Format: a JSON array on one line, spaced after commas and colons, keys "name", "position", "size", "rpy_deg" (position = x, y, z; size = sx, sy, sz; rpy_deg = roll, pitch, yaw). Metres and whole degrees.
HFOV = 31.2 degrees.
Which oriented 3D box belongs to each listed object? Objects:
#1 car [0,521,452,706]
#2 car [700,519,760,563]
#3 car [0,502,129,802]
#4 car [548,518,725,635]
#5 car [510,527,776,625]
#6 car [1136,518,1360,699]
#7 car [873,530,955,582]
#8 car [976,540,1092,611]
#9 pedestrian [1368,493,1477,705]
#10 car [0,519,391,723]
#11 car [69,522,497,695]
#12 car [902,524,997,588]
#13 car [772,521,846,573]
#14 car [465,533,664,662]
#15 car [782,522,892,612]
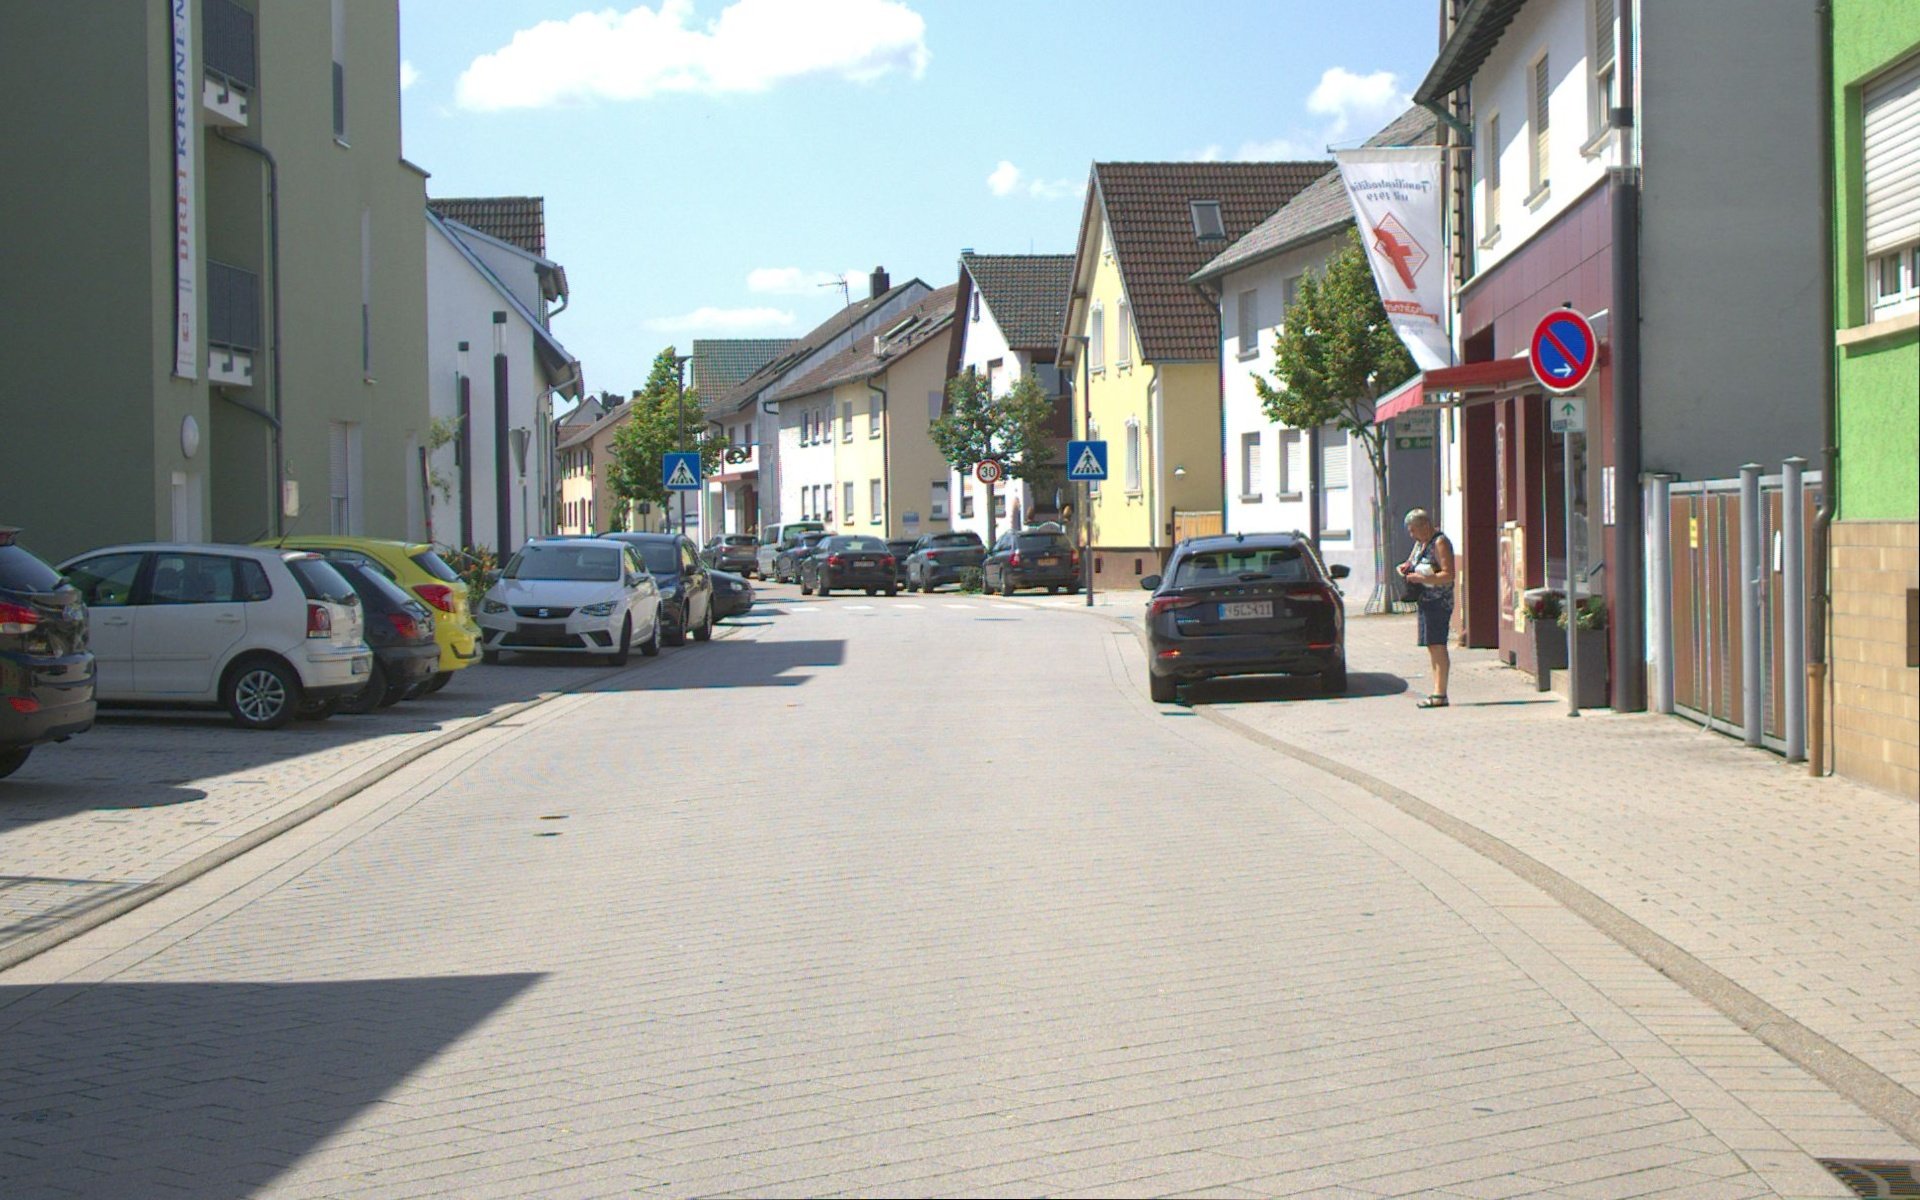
[{"name": "car", "position": [-6.616, 0.095, 30.145], "size": [3.987, 1.436, 1.691], "rpy_deg": [2, 2, 3]}, {"name": "car", "position": [-8.304, -2.145, 123.878], "size": [1.754, 1.487, 4.001], "rpy_deg": [-2, 2, -9]}, {"name": "car", "position": [-7.198, 0.228, 20.055], "size": [4.219, 1.652, 1.784], "rpy_deg": [1, 2, 2]}, {"name": "car", "position": [-4.369, -0.355, 47.028], "size": [1.813, 1.485, 4.277], "rpy_deg": [1, 2, 3]}, {"name": "car", "position": [-5.199, -0.409, 56.689], "size": [4.106, 1.433, 1.765], "rpy_deg": [-2, 1, 3]}, {"name": "car", "position": [2.701, 0.020, 31.964], "size": [1.858, 1.454, 4.585], "rpy_deg": [-3, 1, 5]}, {"name": "car", "position": [-1.304, -1.243, 96.043], "size": [1.710, 1.382, 3.707], "rpy_deg": [-2, 2, -9]}, {"name": "car", "position": [1.671, -0.579, 78.826], "size": [1.828, 1.466, 4.277], "rpy_deg": [-3, 1, -9]}, {"name": "pedestrian", "position": [3.705, -0.018, 27.598], "size": [0.730, 1.634, 0.749], "rpy_deg": [-4, 1, 5]}, {"name": "car", "position": [-6.769, 0.135, 27.943], "size": [3.901, 1.497, 1.750], "rpy_deg": [2, 2, 4]}, {"name": "car", "position": [-6.440, 0.056, 32.921], "size": [3.692, 1.520, 1.672], "rpy_deg": [1, 2, 4]}, {"name": "car", "position": [-0.304, -1.141, 88.348], "size": [1.846, 1.557, 3.695], "rpy_deg": [-2, 2, -9]}, {"name": "car", "position": [-4.828, -1.713, 109.478], "size": [1.877, 1.585, 4.001], "rpy_deg": [-2, 2, -9]}, {"name": "car", "position": [-4.697, -0.070, 41.283], "size": [1.758, 1.406, 3.878], "rpy_deg": [1, 2, 3]}, {"name": "car", "position": [-2.974, -0.822, 82.281], "size": [1.993, 2.050, 4.375], "rpy_deg": [-2, 2, -10]}]
